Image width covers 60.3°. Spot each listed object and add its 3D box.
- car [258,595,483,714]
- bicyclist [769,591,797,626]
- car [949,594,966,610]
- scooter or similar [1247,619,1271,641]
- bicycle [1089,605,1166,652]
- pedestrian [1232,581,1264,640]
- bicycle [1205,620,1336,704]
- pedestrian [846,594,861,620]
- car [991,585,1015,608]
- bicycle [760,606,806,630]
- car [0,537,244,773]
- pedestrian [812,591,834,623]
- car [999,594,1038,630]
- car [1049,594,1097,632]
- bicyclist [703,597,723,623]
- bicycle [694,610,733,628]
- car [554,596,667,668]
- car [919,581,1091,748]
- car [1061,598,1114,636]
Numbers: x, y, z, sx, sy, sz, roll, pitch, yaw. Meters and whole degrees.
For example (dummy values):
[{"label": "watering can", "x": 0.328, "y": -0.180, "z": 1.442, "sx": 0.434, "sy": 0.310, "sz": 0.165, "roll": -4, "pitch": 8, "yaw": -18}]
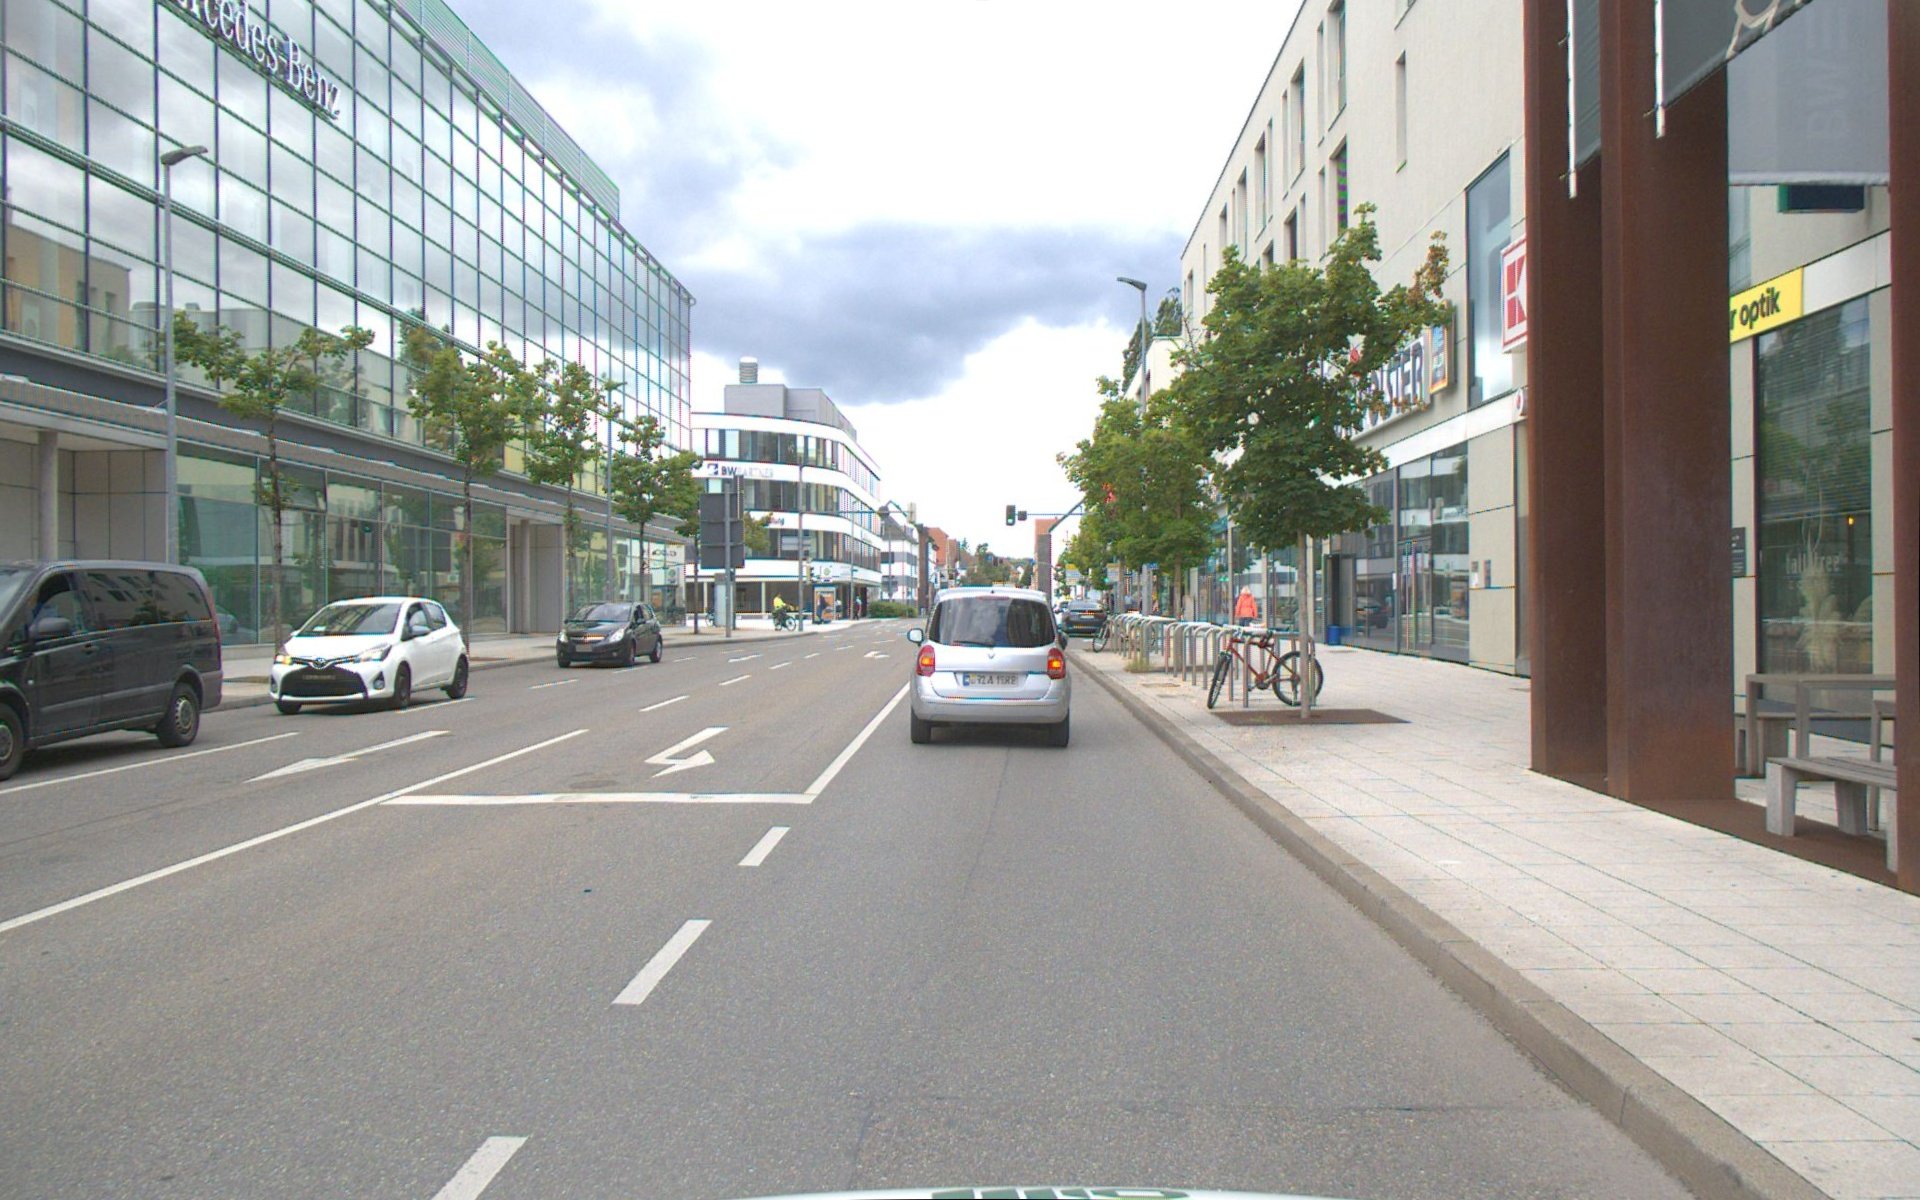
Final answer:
[{"label": "car", "x": -8.151, "y": 0.693, "z": 23.248, "sx": 1.626, "sy": 1.491, "sz": 4.001, "roll": -1, "pitch": 0, "yaw": 1}, {"label": "bicyclist", "x": -8.533, "y": 0.407, "z": 79.743, "sx": 0.995, "sy": 1.689, "sz": 0.923, "roll": 2, "pitch": -1, "yaw": -31}, {"label": "car", "x": -0.376, "y": 0.290, "z": 224.855, "sx": 2.125, "sy": 2.049, "sz": 4.259, "roll": -1, "pitch": 0, "yaw": 1}, {"label": "scooter or similar", "x": 8.267, "y": 0.819, "z": 45.775, "sx": 0.538, "sy": 0.555, "sz": 0.642, "roll": -3, "pitch": 0, "yaw": 1}, {"label": "bicycle", "x": 4.106, "y": 0.686, "z": 40.573, "sx": 1.788, "sy": 1.093, "sz": 0.752, "roll": -1, "pitch": 0, "yaw": 0}, {"label": "pedestrian", "x": 8.102, "y": 0.297, "z": 46.596, "sx": 0.696, "sy": 1.602, "sz": 0.813, "roll": -3, "pitch": 0, "yaw": 1}, {"label": "bicycle", "x": 3.850, "y": 0.764, "z": 20.608, "sx": 1.528, "sy": 1.010, "sz": 0.753, "roll": 0, "pitch": 0, "yaw": 4}, {"label": "pedestrian", "x": -7.576, "y": 0.507, "z": 117.661, "sx": 0.941, "sy": 1.865, "sz": 1.251, "roll": -1, "pitch": 0, "yaw": 1}, {"label": "car", "x": 4.034, "y": -0.346, "z": 155.114, "sx": 2.125, "sy": 2.049, "sz": 4.259, "roll": -1, "pitch": 0, "yaw": 1}, {"label": "bicycle", "x": -8.542, "y": 0.861, "z": 79.727, "sx": 0.995, "sy": 1.036, "sz": 3.098, "roll": 2, "pitch": 0, "yaw": -30}, {"label": "car", "x": -8.801, "y": 0.469, "z": 15.539, "sx": 1.827, "sy": 1.943, "sz": 5.114, "roll": -1, "pitch": 0, "yaw": 1}, {"label": "pedestrian", "x": -8.216, "y": 0.415, "z": 99.050, "sx": 1.223, "sy": 1.865, "sz": 0.962, "roll": -1, "pitch": 0, "yaw": -8}, {"label": "car", "x": 2.701, "y": 0.537, "z": 77.061, "sx": 1.635, "sy": 1.581, "sz": 3.642, "roll": 2, "pitch": 0, "yaw": 0}, {"label": "car", "x": 4.831, "y": 0.538, "z": 71.143, "sx": 1.838, "sy": 1.535, "sz": 4.001, "roll": 2, "pitch": 0, "yaw": 1}, {"label": "bicyclist", "x": -12.904, "y": 0.501, "z": 86.476, "sx": 0.822, "sy": 1.350, "sz": 0.642, "roll": 0, "pitch": 0, "yaw": -42}, {"label": "bicycle", "x": -12.897, "y": 1.002, "z": 86.465, "sx": 0.822, "sy": 0.914, "sz": 2.487, "roll": 0, "pitch": 0, "yaw": -41}, {"label": "car", "x": -7.953, "y": 0.692, "z": 37.979, "sx": 1.626, "sy": 1.506, "sz": 4.001, "roll": -1, "pitch": 0, "yaw": 1}, {"label": "car", "x": 0.411, "y": 0.619, "z": 17.936, "sx": 1.636, "sy": 1.581, "sz": 3.641, "roll": 2, "pitch": 0, "yaw": -1}, {"label": "car", "x": 4.968, "y": 0.631, "z": 64.802, "sx": 1.838, "sy": 1.358, "sz": 4.001, "roll": 2, "pitch": 0, "yaw": 1}]
